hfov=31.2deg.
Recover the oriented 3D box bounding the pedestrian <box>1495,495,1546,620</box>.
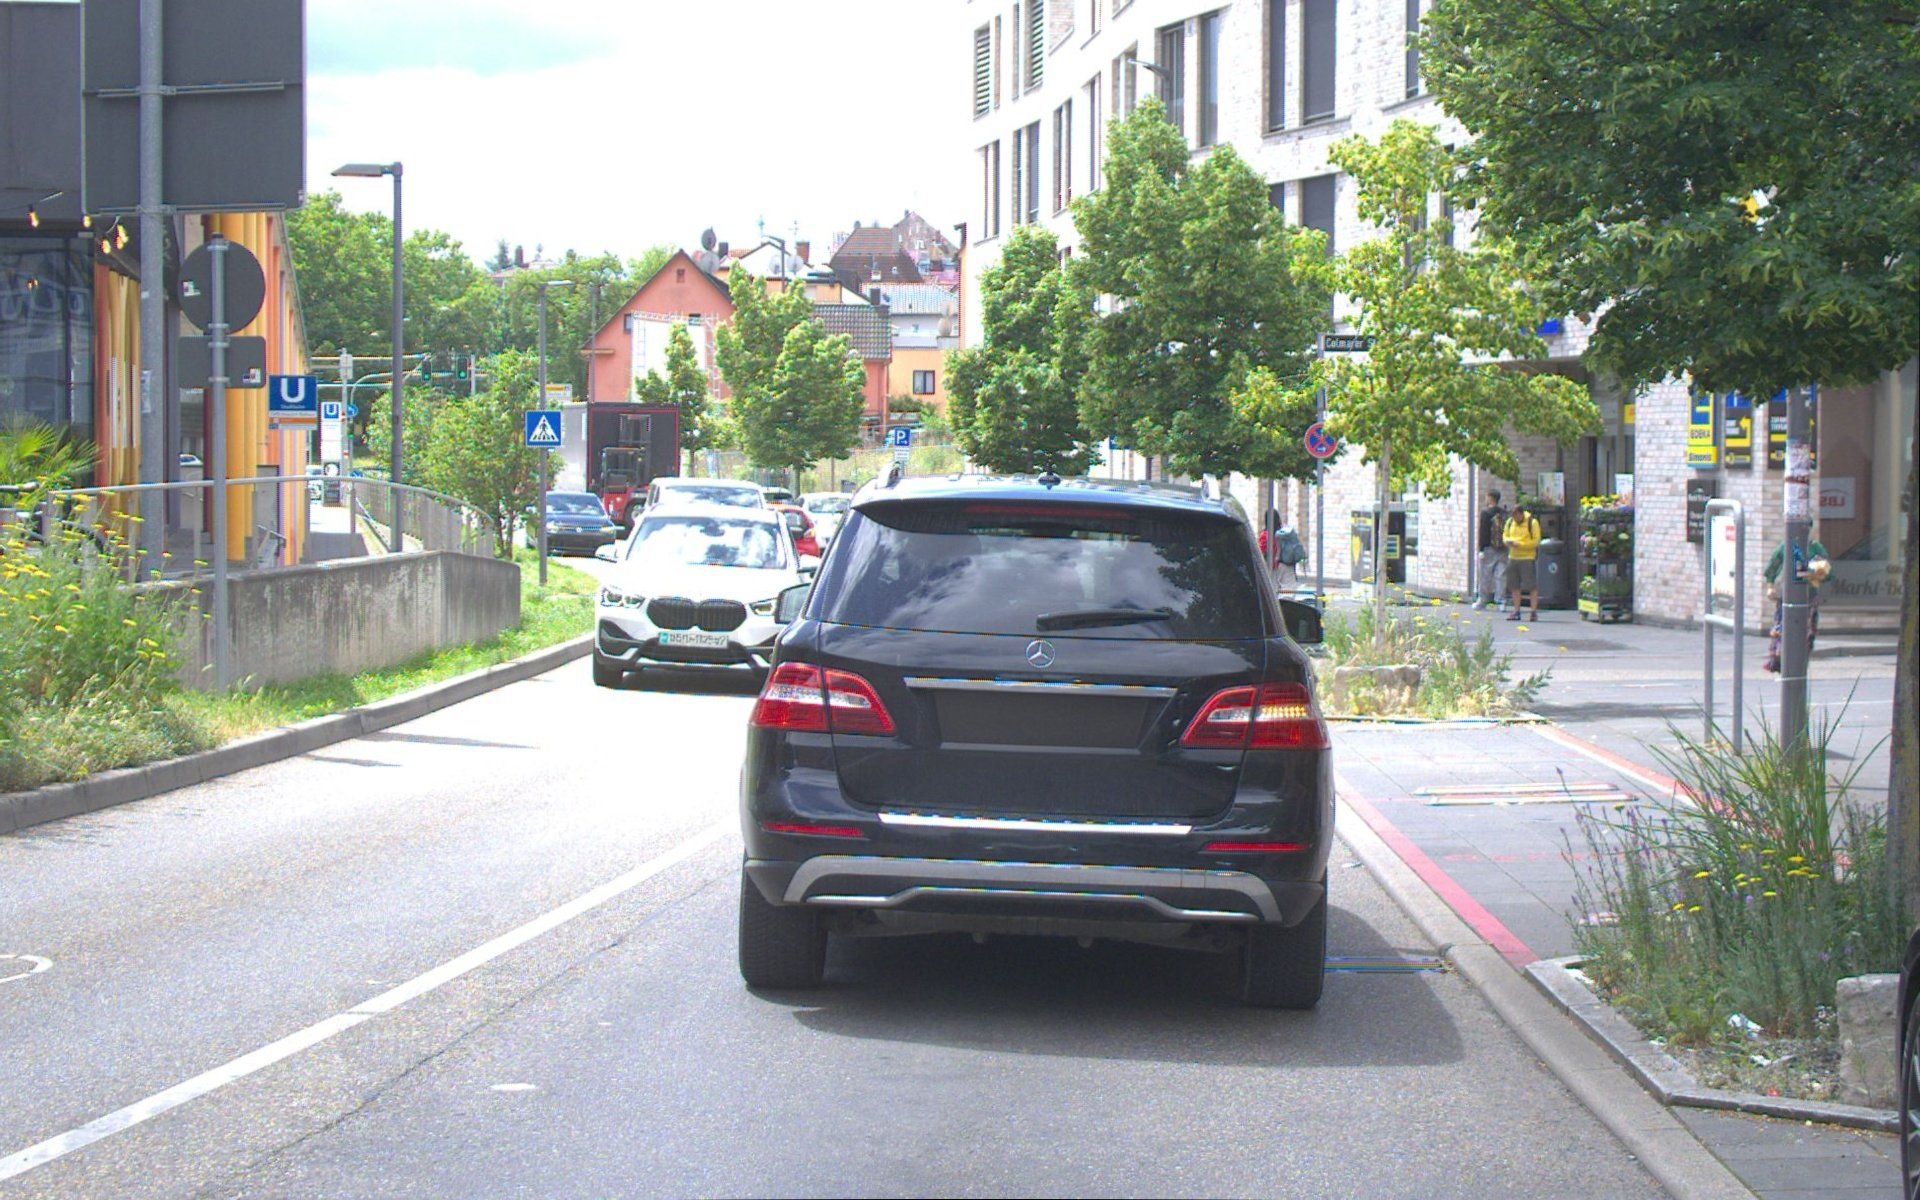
[{"bbox_3d":[7.652,-0.583,46.945,0.559,1.685,0.639,0,1,-1],"label":"pedestrian"}]

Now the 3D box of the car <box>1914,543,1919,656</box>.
[{"bbox_3d":[12.965,-0.039,38.471,3.987,1.561,1.847,3,1,0],"label":"car"}]

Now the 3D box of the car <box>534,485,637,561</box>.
[{"bbox_3d":[-8.569,-1.773,78.502,1.840,1.602,4.002,2,2,-13],"label":"car"}]

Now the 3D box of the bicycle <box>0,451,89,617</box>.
[{"bbox_3d":[-6.651,-0.443,22.859,1.568,1.087,0.578,0,1,2],"label":"bicycle"}]

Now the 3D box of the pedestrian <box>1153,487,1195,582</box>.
[{"bbox_3d":[3.794,-1.162,61.035,0.558,1.677,0.568,0,1,-20],"label":"pedestrian"}]

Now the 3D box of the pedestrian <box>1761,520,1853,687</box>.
[{"bbox_3d":[7.985,0.026,32.425,0.711,1.558,0.568,0,1,-1],"label":"pedestrian"}]

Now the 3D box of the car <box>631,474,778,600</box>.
[{"bbox_3d":[-4.111,-1.037,54.676,1.840,1.852,4.499,2,2,-10],"label":"car"}]

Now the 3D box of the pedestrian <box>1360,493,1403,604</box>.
[{"bbox_3d":[6.415,-0.782,52.318,0.559,1.677,0.568,0,1,-1],"label":"pedestrian"}]

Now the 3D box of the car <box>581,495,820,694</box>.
[{"bbox_3d":[-2.279,-0.098,31.093,1.840,1.602,4.000,3,1,-1],"label":"car"}]

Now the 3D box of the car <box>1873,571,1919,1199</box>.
[{"bbox_3d":[2.728,0.672,4.909,1.856,1.401,4.374,-1,1,3],"label":"car"}]

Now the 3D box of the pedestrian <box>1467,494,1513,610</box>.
[{"bbox_3d":[7.698,-0.701,49.946,0.559,1.677,0.568,0,1,-1],"label":"pedestrian"}]

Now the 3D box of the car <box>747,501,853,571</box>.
[{"bbox_3d":[-3.282,-1.316,69.940,1.608,1.378,3.838,-1,2,-11],"label":"car"}]

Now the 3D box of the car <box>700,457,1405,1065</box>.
[{"bbox_3d":[0.293,0.448,12.537,2.027,1.721,4.433,3,1,0],"label":"car"}]

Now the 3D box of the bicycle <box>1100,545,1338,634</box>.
[{"bbox_3d":[3.405,-0.144,45.347,3.059,1.142,0.710,0,1,-3],"label":"bicycle"}]

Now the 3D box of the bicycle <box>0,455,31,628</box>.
[{"bbox_3d":[-6.792,-0.373,21.933,1.568,1.087,0.578,0,1,2],"label":"bicycle"}]

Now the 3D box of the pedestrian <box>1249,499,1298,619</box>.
[{"bbox_3d":[4.404,-0.581,48.253,0.663,1.677,0.568,0,1,4],"label":"pedestrian"}]
